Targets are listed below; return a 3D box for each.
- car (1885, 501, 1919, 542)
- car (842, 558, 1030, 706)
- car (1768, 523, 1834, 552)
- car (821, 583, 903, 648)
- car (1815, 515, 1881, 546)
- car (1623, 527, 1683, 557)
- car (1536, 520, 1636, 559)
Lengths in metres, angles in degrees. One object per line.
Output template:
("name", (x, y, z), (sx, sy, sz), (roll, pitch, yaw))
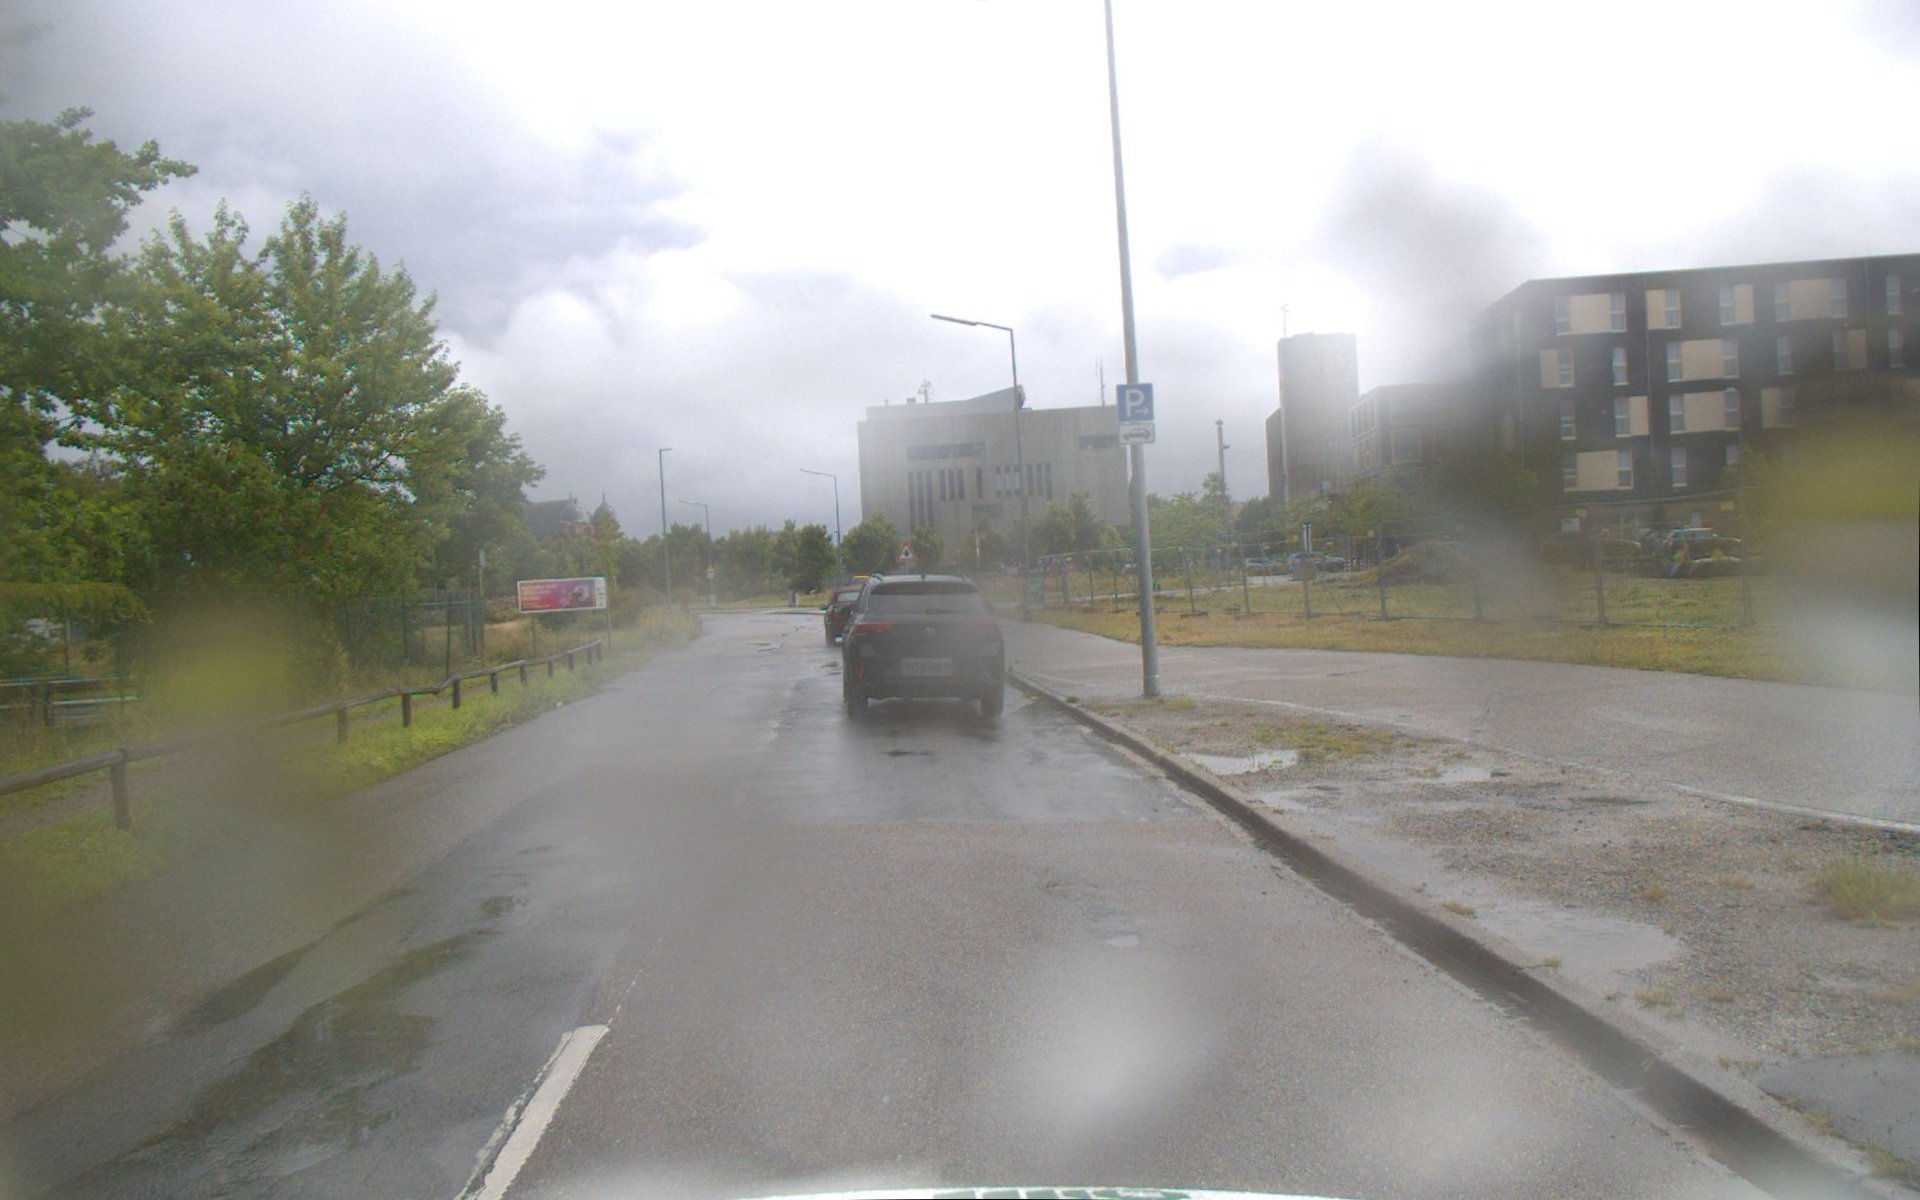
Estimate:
("car", (45.413, -3.574, 76.383), (4.232, 1.803, 2.001), (2, 1, 5))
("car", (-0.388, 0.293, 19.454), (1.948, 1.546, 3.997), (0, 1, -5))
("car", (44.116, -3.270, 86.828), (1.726, 1.419, 3.810), (0, 1, 3))
("car", (-2.660, 0.381, 44.196), (1.807, 1.466, 3.994), (-6, 1, -7))
("car", (46.523, -3.614, 86.754), (1.604, 1.421, 3.783), (-1, 0, 4))
("car", (36.589, -3.053, 87.411), (1.742, 1.554, 3.844), (0, 1, 3))
("car", (29.192, -2.814, 77.184), (3.905, 1.758, 2.000), (0, 1, 0))
